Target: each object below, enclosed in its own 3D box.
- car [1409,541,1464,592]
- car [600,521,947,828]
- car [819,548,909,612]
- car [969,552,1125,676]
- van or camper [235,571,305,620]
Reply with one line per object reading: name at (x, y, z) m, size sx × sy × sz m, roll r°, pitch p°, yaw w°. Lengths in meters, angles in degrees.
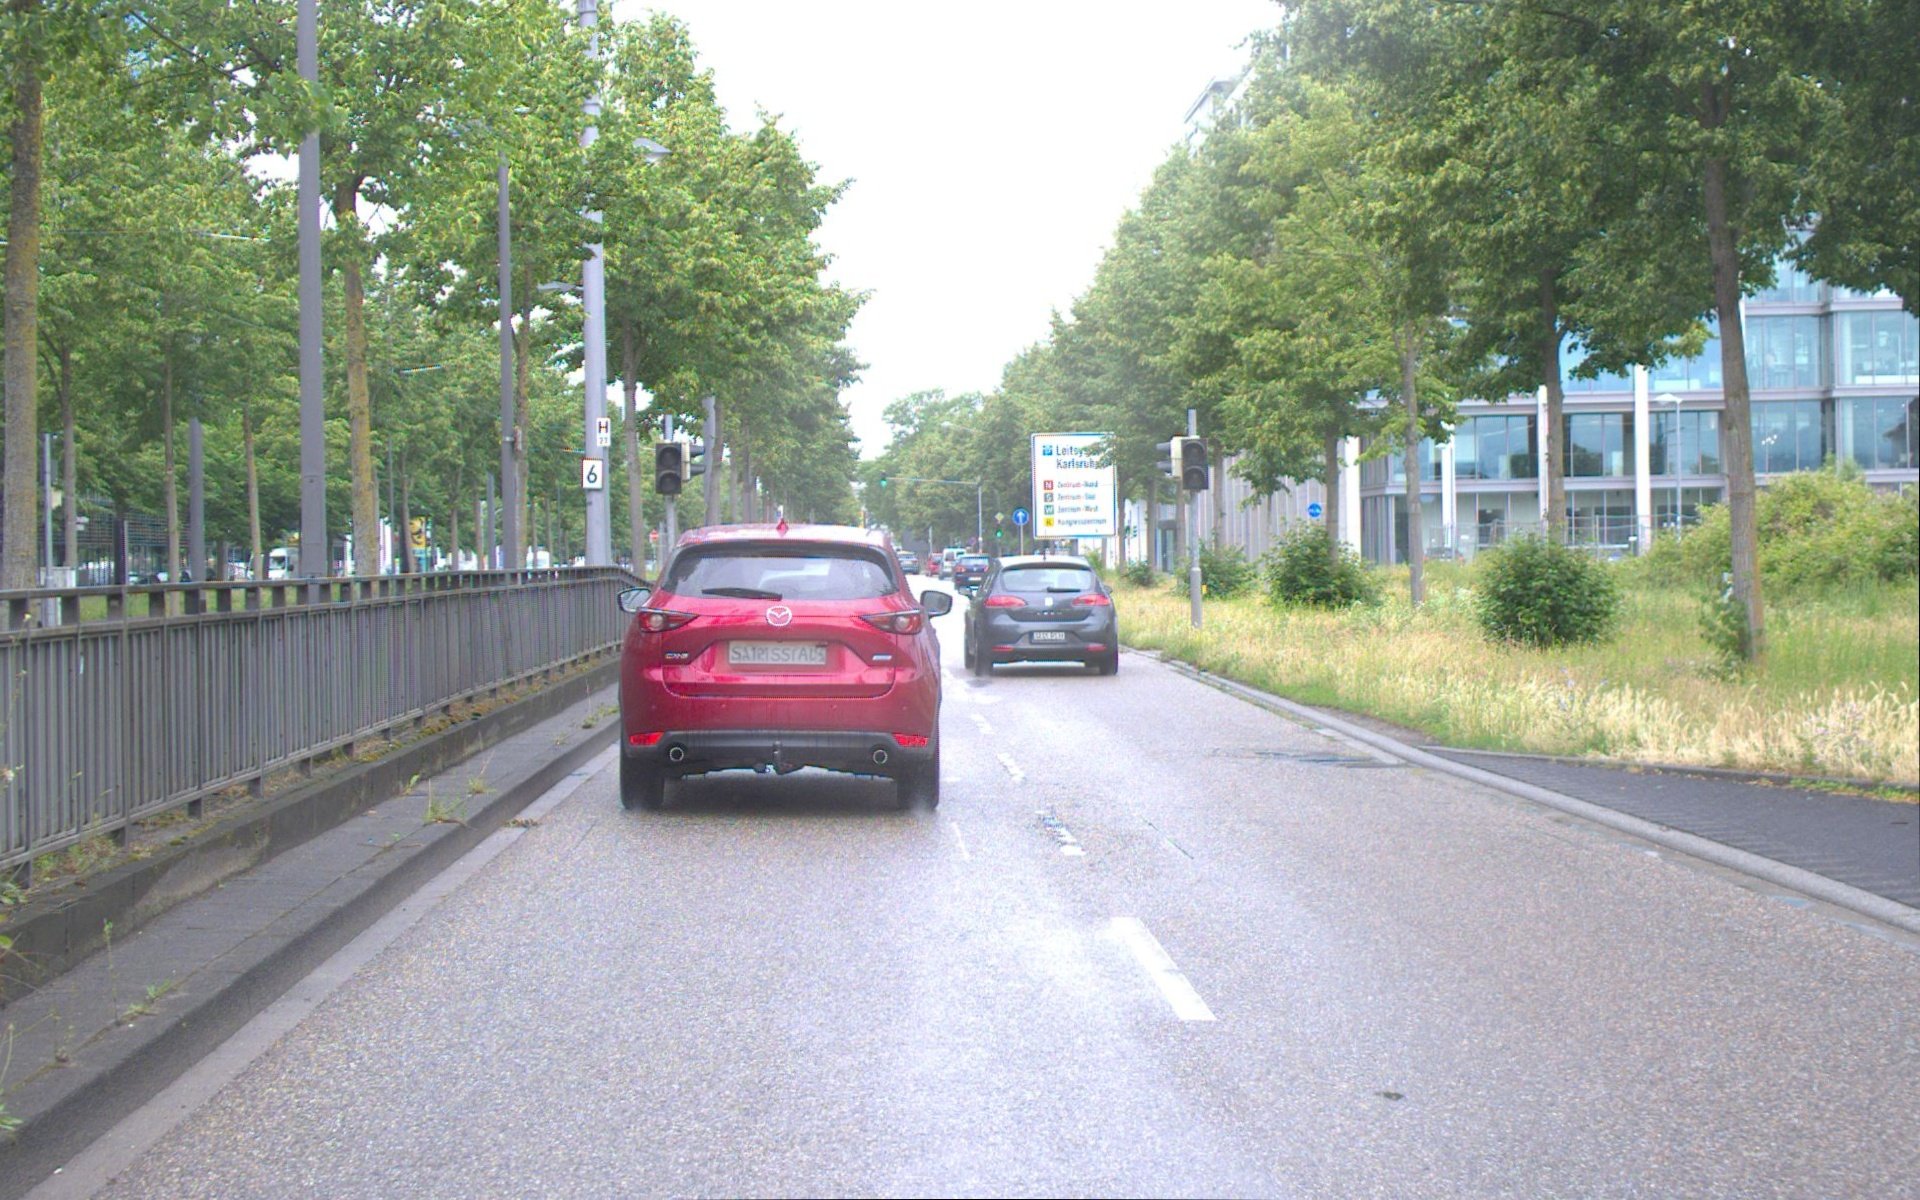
car at (17.506, -1.215, 126.471) m, size 1.855 × 1.576 × 3.998 m, roll 0°, pitch -4°, yaw 6°
car at (-1.106, 0.386, 20.915) m, size 1.898 × 1.671 × 4.000 m, roll 0°, pitch 1°, yaw -2°
car at (-2.283, -0.488, 80.651) m, size 1.967 × 1.432 × 4.553 m, roll 1°, pitch 1°, yaw -3°
car at (1.037, 0.141, 42.657) m, size 1.743 × 1.460 × 3.782 m, roll 0°, pitch 1°, yaw -1°
van or camper at (-34.091, -0.235, 170.006) m, size 2.433 × 2.307 × 5.850 m, roll -1°, pitch 1°, yaw -2°
